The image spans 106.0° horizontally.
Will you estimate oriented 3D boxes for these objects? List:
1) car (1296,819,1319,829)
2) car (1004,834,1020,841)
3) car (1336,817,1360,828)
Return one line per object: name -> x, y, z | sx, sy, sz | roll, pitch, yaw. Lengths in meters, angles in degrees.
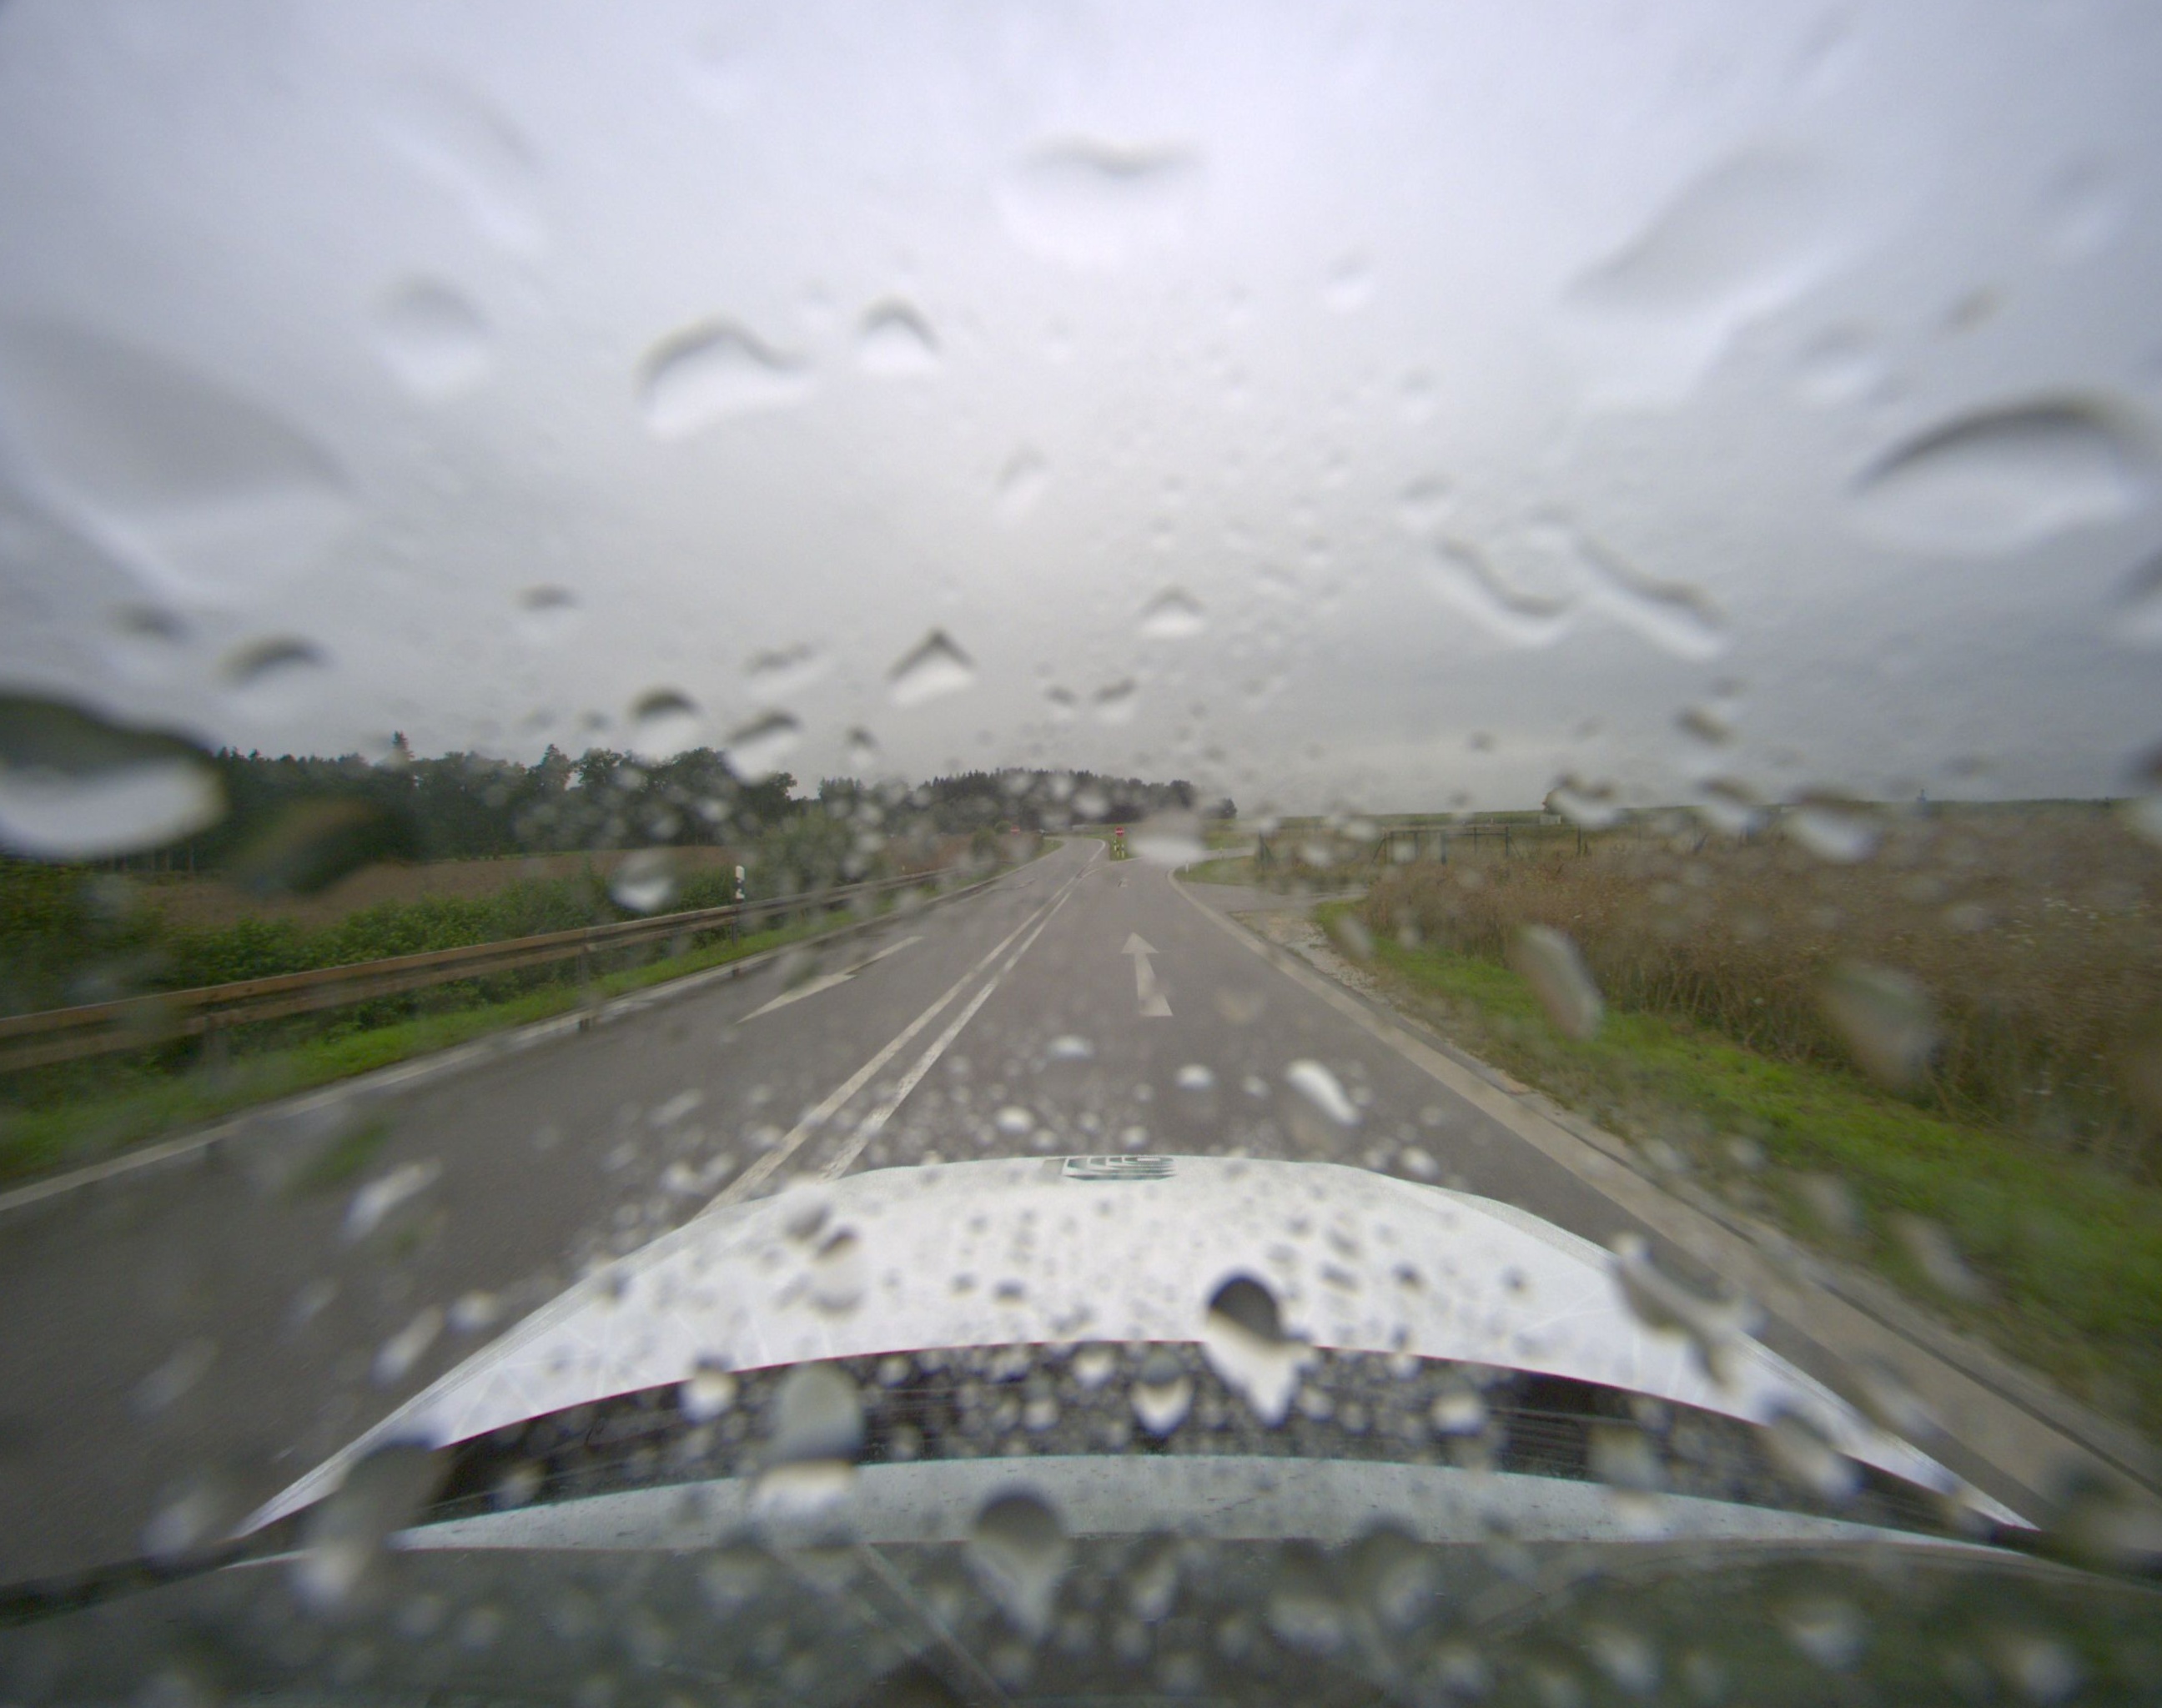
car -> 45.006, -5.944, 161.755 | 1.745, 1.736, 3.953 | -5, 3, -40
car -> -17.239, -4.064, 202.679 | 1.882, 1.736, 3.953 | -5, 3, -41
car -> 51.203, -6.030, 156.177 | 1.745, 1.736, 3.953 | -5, 3, -40
